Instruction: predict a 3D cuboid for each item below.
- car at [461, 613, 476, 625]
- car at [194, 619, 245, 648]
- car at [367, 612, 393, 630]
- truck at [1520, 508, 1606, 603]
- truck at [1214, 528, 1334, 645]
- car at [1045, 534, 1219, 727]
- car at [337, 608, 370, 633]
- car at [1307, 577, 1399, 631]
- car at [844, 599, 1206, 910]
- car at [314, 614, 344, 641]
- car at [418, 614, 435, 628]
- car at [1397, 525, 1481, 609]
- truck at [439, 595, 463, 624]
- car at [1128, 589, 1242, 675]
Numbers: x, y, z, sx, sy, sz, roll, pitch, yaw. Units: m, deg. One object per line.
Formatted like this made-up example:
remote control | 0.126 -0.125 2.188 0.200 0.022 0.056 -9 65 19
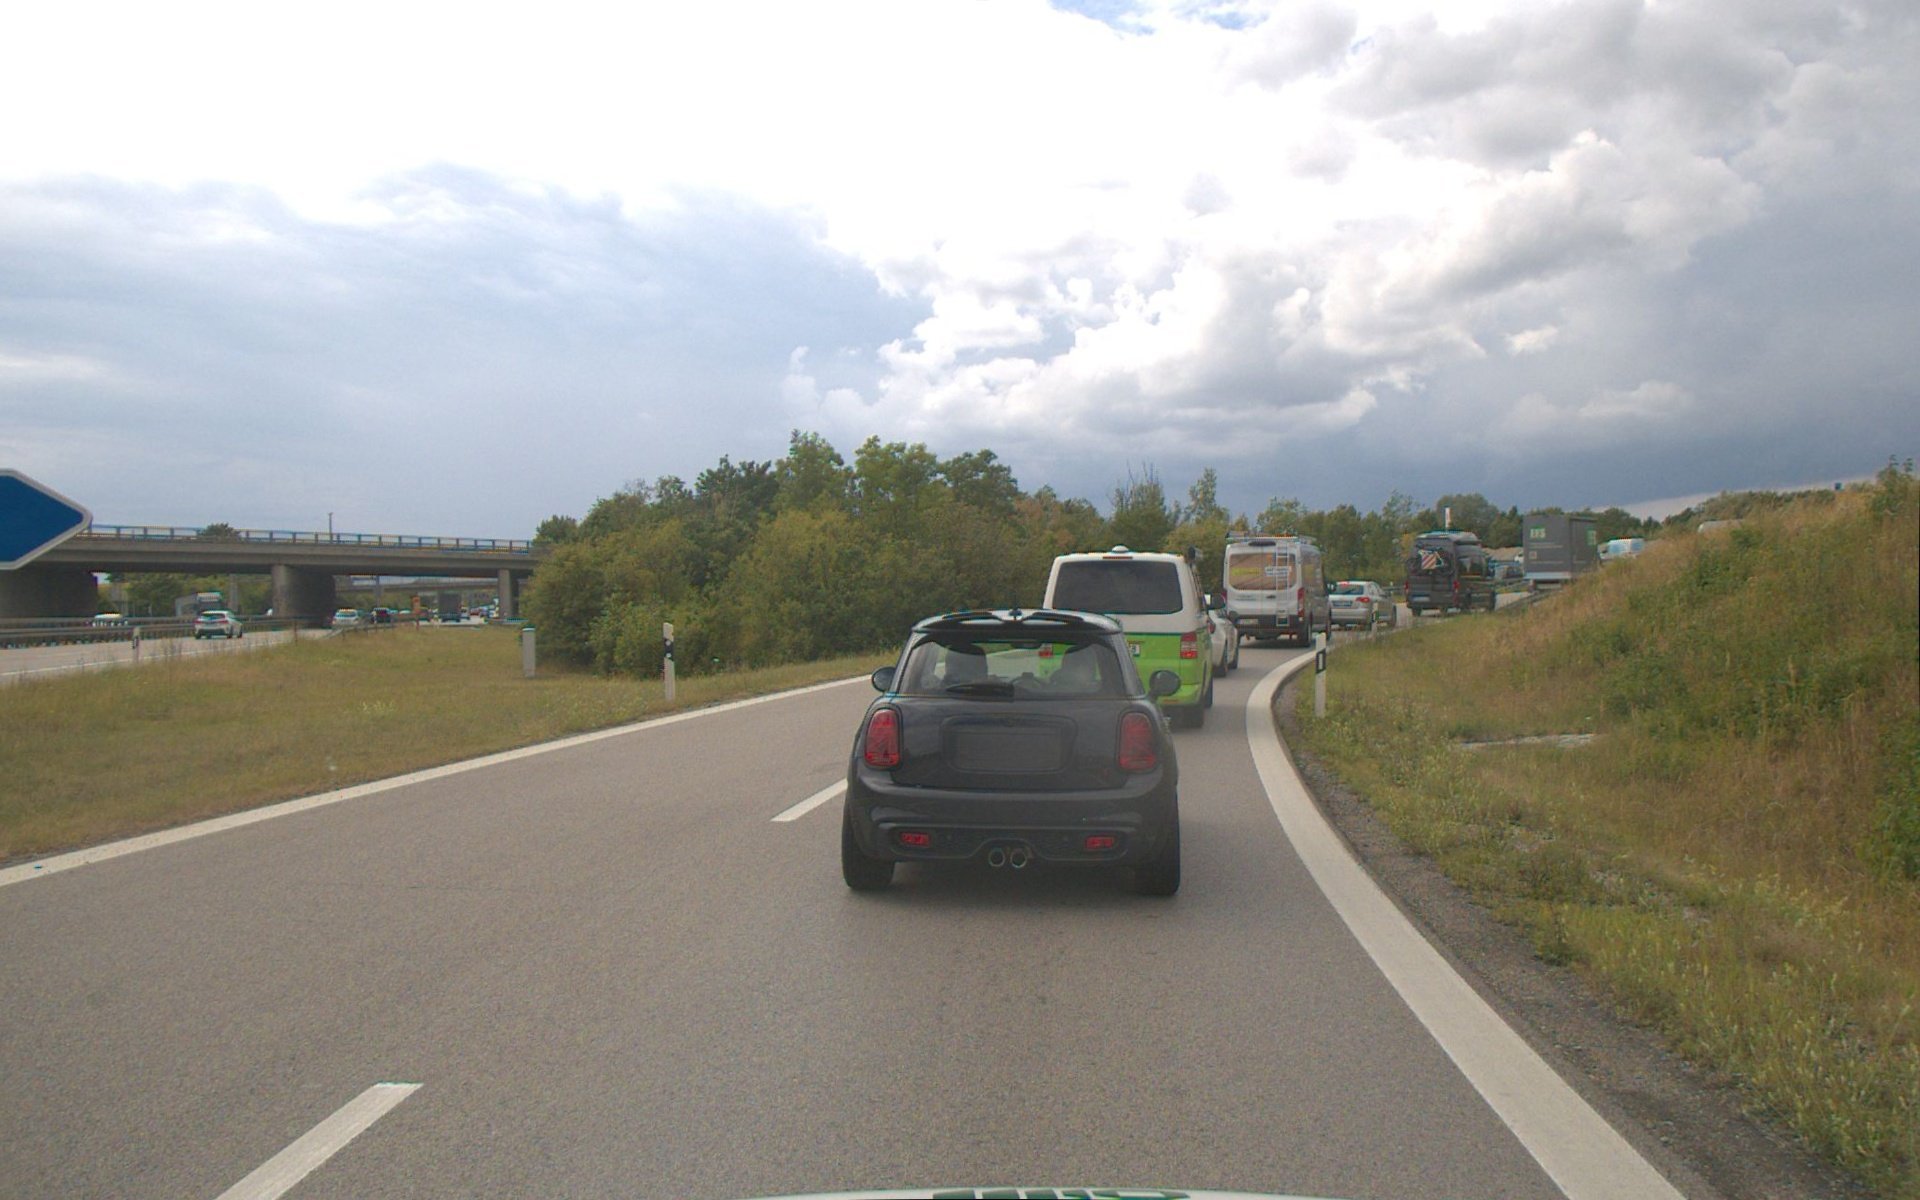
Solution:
car | -72.629 2.794 244.606 1.844 1.782 4.471 0 0 -13
car | -39.236 1.762 87.752 1.806 1.478 4.360 0 0 -15
car | -57.745 2.078 164.739 1.960 1.774 4.811 -1 0 -14
truck | 27.477 -1.947 75.223 2.190 3.975 5.994 0 -2 35
truck | 7.847 -0.331 40.947 2.133 2.705 5.110 0 0 20
car | 2.140 0.331 19.669 1.746 2.049 4.003 0 0 10
car | -39.723 1.346 108.397 1.689 1.545 3.983 -1 0 -15
car | 11.914 0.128 49.959 1.830 1.536 3.995 0 0 27
car | 0.457 0.735 9.649 1.690 1.438 3.727 0 0 5
car | -50.445 2.203 132.314 1.962 2.049 3.980 1 -1 -18
car | -68.917 2.657 213.783 1.814 1.789 4.319 0 0 -15
car | 17.080 -1.137 58.865 2.064 2.845 3.994 1 0 28
truck | -62.593 1.159 203.485 2.426 3.430 7.893 -1 -1 -14
car | 4.056 0.544 29.422 1.724 1.423 3.728 0 0 12
